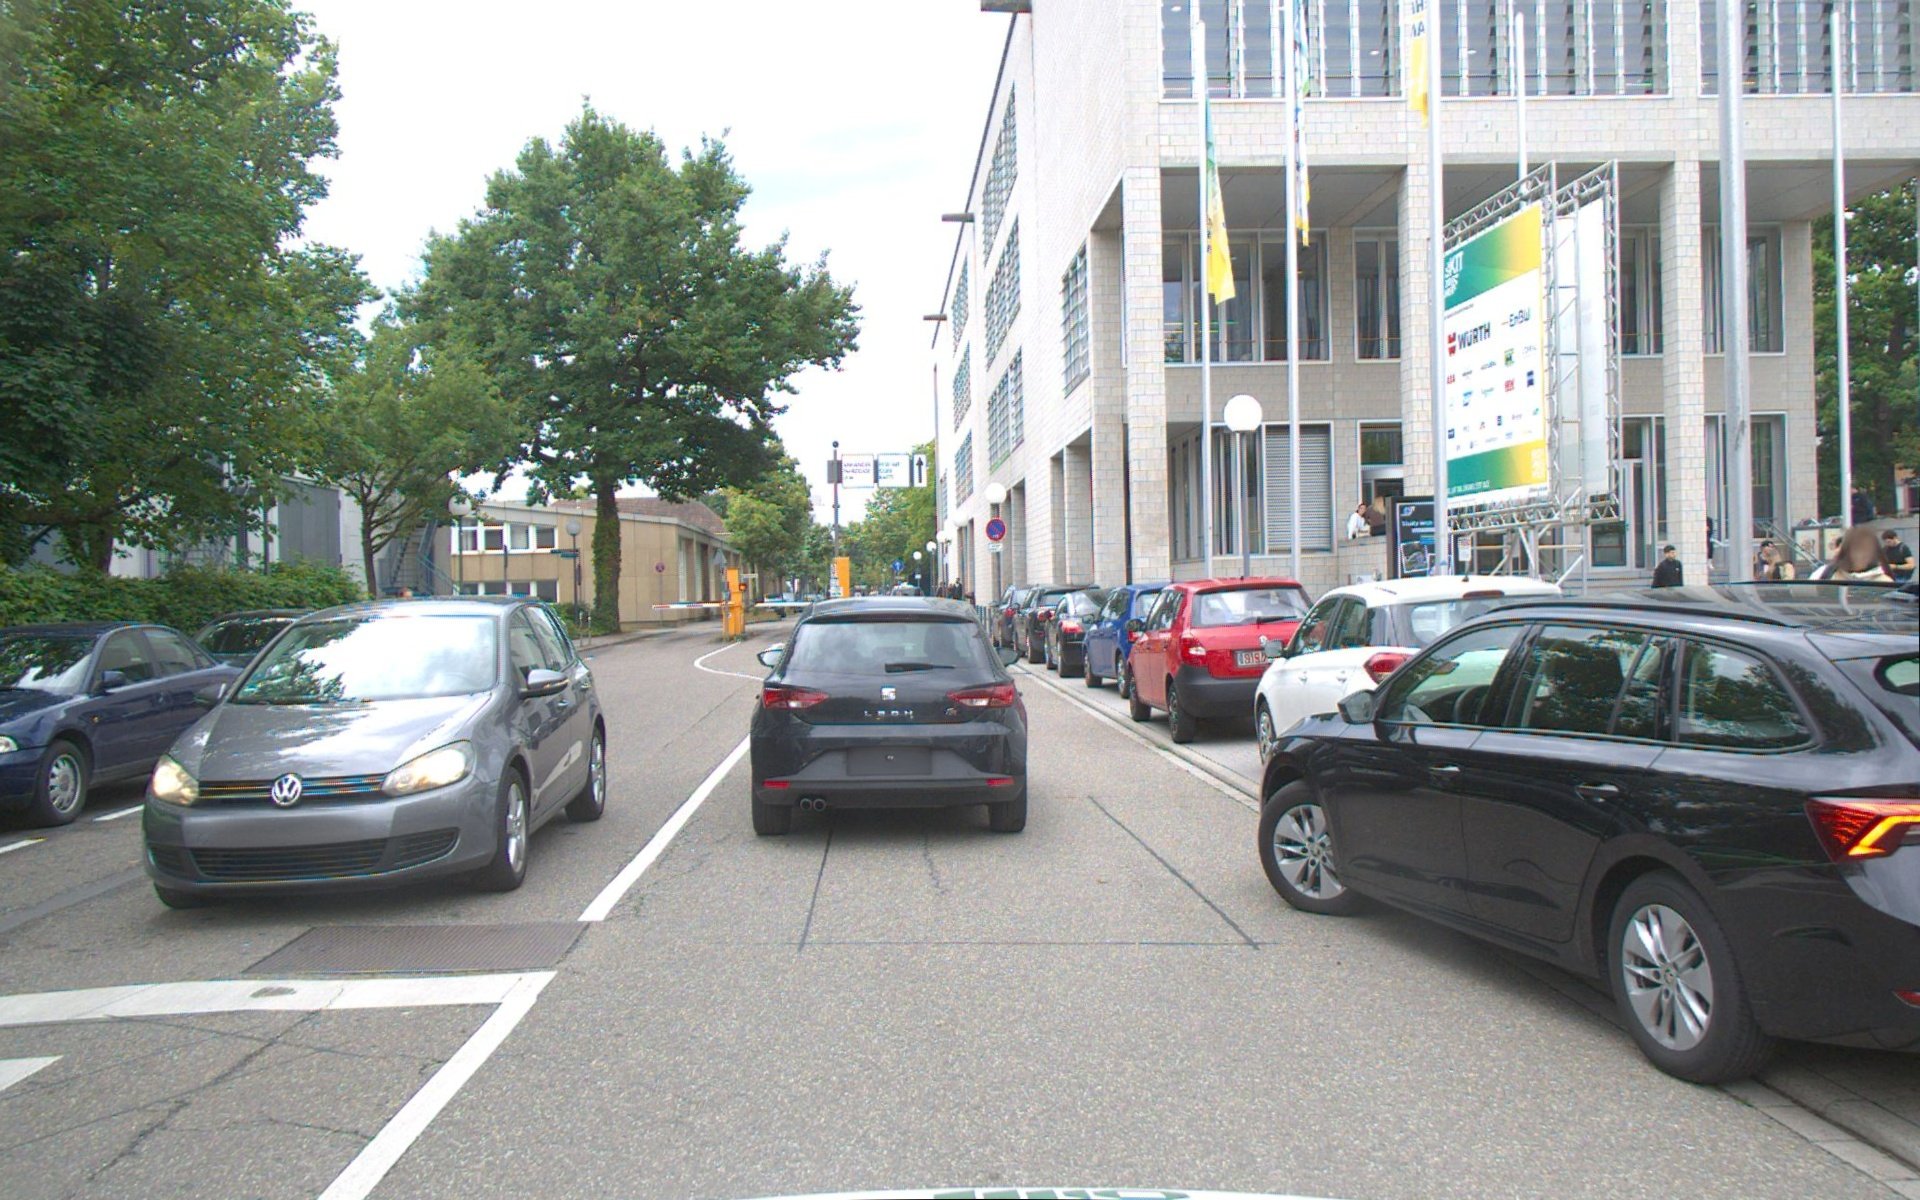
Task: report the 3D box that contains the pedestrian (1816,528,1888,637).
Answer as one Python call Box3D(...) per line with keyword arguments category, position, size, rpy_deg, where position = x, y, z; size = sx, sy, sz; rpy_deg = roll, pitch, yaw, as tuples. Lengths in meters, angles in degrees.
Box3D(category="pedestrian", position=(15.173, -0.293, 28.141), size=(0.750, 1.816, 0.733), rpy_deg=(-1, 0, -17))

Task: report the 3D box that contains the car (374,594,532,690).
Box3D(category="car", position=(-8.608, 0.664, 28.420), size=(1.729, 1.436, 4.005), rpy_deg=(-1, 1, -5))

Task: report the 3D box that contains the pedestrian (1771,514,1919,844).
Box3D(category="pedestrian", position=(5.249, 0.437, 9.537), size=(0.774, 1.818, 0.822), rpy_deg=(-1, 0, 9))

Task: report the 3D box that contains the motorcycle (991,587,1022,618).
Box3D(category="motorcycle", position=(1.911, 0.105, 67.930), size=(0.554, 1.168, 2.218), rpy_deg=(1, 3, 21))

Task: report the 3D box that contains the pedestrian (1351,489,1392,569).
Box3D(category="pedestrian", position=(8.816, -1.527, 35.425), size=(0.788, 1.687, 0.631), rpy_deg=(1, 2, 22))

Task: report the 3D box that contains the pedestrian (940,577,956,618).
Box3D(category="pedestrian", position=(-0.521, -0.120, 71.059), size=(0.598, 1.744, 0.575), rpy_deg=(-2, 0, 2))

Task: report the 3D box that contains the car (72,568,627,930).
Box3D(category="car", position=(-3.092, 0.644, 9.344), size=(1.747, 1.523, 4.165), rpy_deg=(-2, 0, -3))

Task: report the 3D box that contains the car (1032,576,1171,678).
Box3D(category="car", position=(2.318, 0.391, 28.077), size=(1.811, 1.467, 4.418), rpy_deg=(-1, 2, -2))

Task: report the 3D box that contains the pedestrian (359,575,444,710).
Box3D(category="pedestrian", position=(-7.331, 0.539, 21.751), size=(0.723, 1.690, 0.968), rpy_deg=(-2, 1, -1))

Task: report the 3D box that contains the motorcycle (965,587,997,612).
Box3D(category="motorcycle", position=(1.075, -0.037, 84.488), size=(0.743, 1.168, 2.663), rpy_deg=(1, 3, 21))

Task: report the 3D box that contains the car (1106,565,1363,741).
Box3D(category="car", position=(2.700, 0.459, 17.243), size=(1.678, 1.498, 4.271), rpy_deg=(-4, 1, -3))

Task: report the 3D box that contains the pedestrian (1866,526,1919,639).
Box3D(category="pedestrian", position=(16.005, -0.304, 28.323), size=(0.773, 1.897, 0.593), rpy_deg=(-2, -1, -45))

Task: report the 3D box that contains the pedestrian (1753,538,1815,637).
Box3D(category="pedestrian", position=(14.820, -0.215, 29.764), size=(0.761, 1.745, 0.603), rpy_deg=(-1, 0, -2))

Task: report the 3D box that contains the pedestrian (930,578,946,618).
Box3D(category="pedestrian", position=(-0.983, -0.092, 74.475), size=(0.682, 1.744, 0.489), rpy_deg=(-1, 0, -2))

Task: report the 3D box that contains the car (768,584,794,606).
Box3D(category="car", position=(-13.759, -0.402, 127.309), size=(1.735, 1.629, 3.997), rpy_deg=(-1, 0, -4))

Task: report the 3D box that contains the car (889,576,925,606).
Box3D(category="car", position=(-3.152, -0.551, 97.649), size=(1.954, 1.651, 4.425), rpy_deg=(-3, 1, -3))

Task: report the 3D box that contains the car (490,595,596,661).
Box3D(category="car", position=(-9.789, 0.614, 39.100), size=(1.782, 1.413, 4.189), rpy_deg=(-1, 1, -6))

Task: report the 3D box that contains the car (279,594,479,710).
Box3D(category="car", position=(-8.375, 0.694, 24.184), size=(1.727, 1.497, 3.822), rpy_deg=(-2, 0, -3))

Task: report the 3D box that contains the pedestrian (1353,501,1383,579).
Box3D(category="pedestrian", position=(8.964, -1.318, 36.350), size=(0.616, 1.687, 0.808), rpy_deg=(0, 2, 13))

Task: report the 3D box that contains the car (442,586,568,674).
Box3D(category="car", position=(-9.119, 0.559, 33.416), size=(1.682, 1.613, 3.875), rpy_deg=(-1, 1, -4))

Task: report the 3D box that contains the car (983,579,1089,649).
Box3D(category="car", position=(1.707, 0.301, 38.779), size=(1.954, 1.477, 4.919), rpy_deg=(-2, 0, -3))

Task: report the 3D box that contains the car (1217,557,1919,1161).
Box3D(category="car", position=(2.739, 0.613, 6.331), size=(1.829, 1.426, 4.462), rpy_deg=(-4, 1, -14))

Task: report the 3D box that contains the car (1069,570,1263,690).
Box3D(category="car", position=(2.730, 0.378, 22.916), size=(1.663, 1.436, 4.370), rpy_deg=(-2, 0, -6))

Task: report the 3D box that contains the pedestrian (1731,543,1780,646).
Box3D(category="pedestrian", position=(14.777, -0.099, 30.737), size=(0.579, 1.873, 0.620), rpy_deg=(-1, 0, -2))

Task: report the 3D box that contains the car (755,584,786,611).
Box3D(category="car", position=(-11.965, -0.164, 104.600), size=(1.735, 1.629, 3.997), rpy_deg=(-1, 0, -4))

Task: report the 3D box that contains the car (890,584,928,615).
Box3D(category="car", position=(-2.887, -0.007, 93.130), size=(1.954, 1.651, 4.424), rpy_deg=(-2, 0, -4))

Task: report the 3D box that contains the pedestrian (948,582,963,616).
Box3D(category="pedestrian", position=(-0.224, -0.054, 83.473), size=(0.714, 1.728, 0.587), rpy_deg=(-1, 2, -9))

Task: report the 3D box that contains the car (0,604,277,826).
Box3D(category="car", position=(-7.201, 0.792, 13.042), size=(1.761, 1.432, 4.337), rpy_deg=(-2, 0, 1))

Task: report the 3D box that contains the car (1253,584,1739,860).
Box3D(category="car", position=(3.323, 0.659, 11.102), size=(1.823, 1.478, 3.856), rpy_deg=(-1, 0, -3))

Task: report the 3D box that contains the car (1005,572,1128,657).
Box3D(category="car", position=(2.035, 0.253, 32.956), size=(1.782, 1.468, 4.517), rpy_deg=(-3, 1, -4))

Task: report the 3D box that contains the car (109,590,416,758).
Box3D(category="car", position=(-7.782, 0.731, 18.959), size=(1.762, 1.588, 4.528), rpy_deg=(-2, 1, -3))

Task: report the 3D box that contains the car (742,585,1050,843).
Box3D(category="car", position=(-0.492, 0.632, 11.567), size=(1.747, 1.444, 4.126), rpy_deg=(-1, 1, -4))

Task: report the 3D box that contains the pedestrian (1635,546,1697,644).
Box3D(category="pedestrian", position=(12.554, -0.083, 29.416), size=(0.740, 1.699, 0.705), rpy_deg=(-1, 0, -2))
